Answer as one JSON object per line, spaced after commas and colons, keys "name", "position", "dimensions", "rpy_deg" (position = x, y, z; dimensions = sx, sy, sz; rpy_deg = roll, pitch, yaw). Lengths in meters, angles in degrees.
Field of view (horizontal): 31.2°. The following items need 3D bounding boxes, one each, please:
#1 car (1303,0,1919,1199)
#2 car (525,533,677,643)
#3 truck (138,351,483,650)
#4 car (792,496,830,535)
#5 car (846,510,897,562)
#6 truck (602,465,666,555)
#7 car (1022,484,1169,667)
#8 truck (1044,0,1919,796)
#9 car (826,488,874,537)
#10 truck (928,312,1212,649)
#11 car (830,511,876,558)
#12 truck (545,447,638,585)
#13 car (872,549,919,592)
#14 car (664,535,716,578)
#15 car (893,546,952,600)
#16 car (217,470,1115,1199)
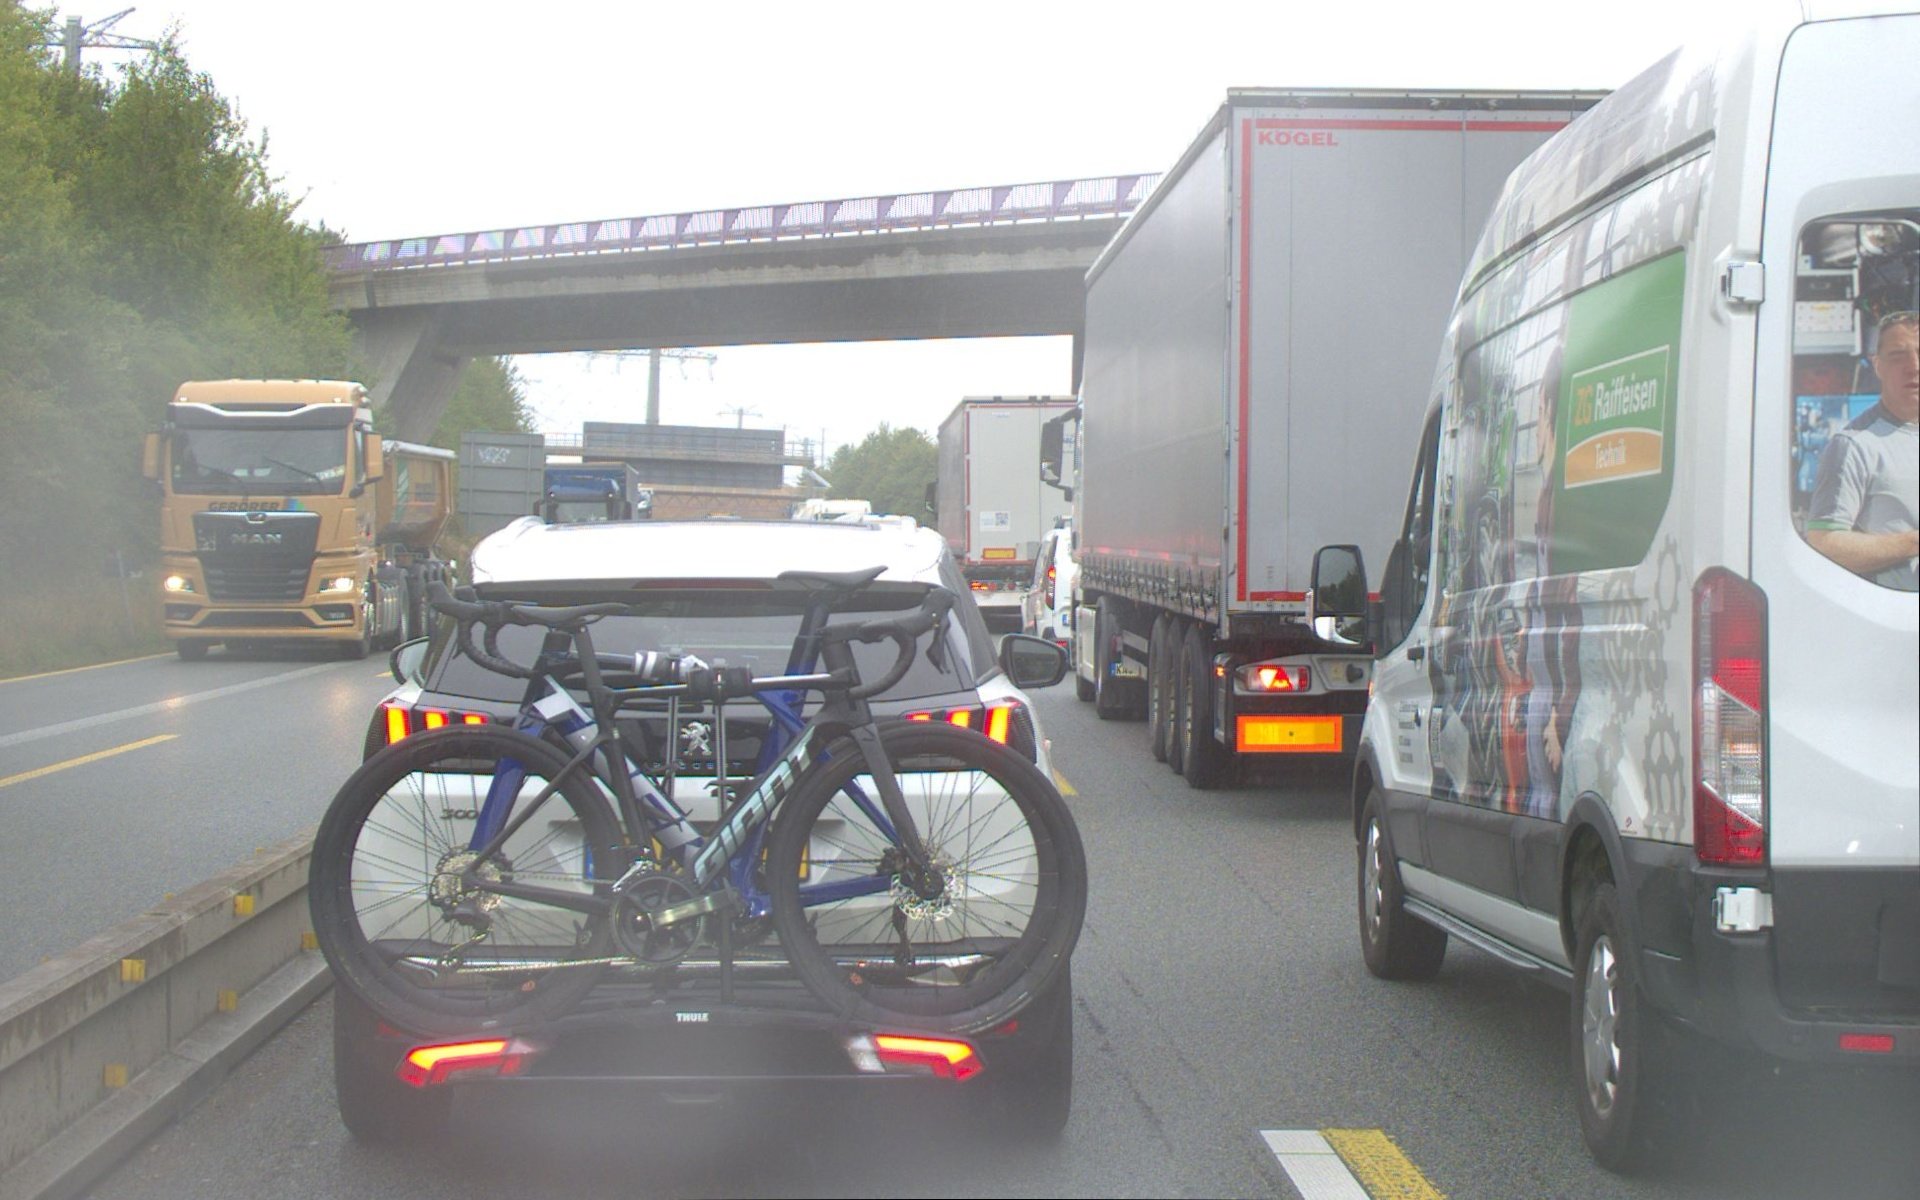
{"name": "car", "position": [2.438, -0.010, 9.971], "dimensions": [2.144, 2.667, 6.117], "rpy_deg": [1, 1, -1]}
{"name": "car", "position": [-5.429, -0.195, 52.430], "dimensions": [1.935, 1.602, 4.120], "rpy_deg": [1, 1, -1]}
{"name": "truck", "position": [-8.828, -1.279, 48.391], "dimensions": [2.681, 3.644, 12.312], "rpy_deg": [1, 1, -1]}
{"name": "car", "position": [-8.350, -4.705, 192.521], "dimensions": [1.993, 2.119, 4.527], "rpy_deg": [1, 1, -1]}
{"name": "car", "position": [-3.502, -2.545, 137.068], "dimensions": [1.993, 2.007, 4.000], "rpy_deg": [1, 1, -1]}
{"name": "truck", "position": [-15.369, -4.193, 162.605], "dimensions": [2.464, 4.109, 10.089], "rpy_deg": [1, 1, -2]}
{"name": "car", "position": [1.660, -0.319, 43.465], "dimensions": [1.670, 2.173, 4.535], "rpy_deg": [1, 1, 0]}
{"name": "truck", "position": [3.109, -1.920, 28.188], "dimensions": [3.979, 5.654, 20.377], "rpy_deg": [1, 1, -1]}
{"name": "car", "position": [-5.288, -4.201, 166.122], "dimensions": [2.239, 2.299, 4.572], "rpy_deg": [1, 1, -1]}
{"name": "truck", "position": [1.880, -2.119, 68.236], "dimensions": [4.743, 5.654, 20.376], "rpy_deg": [1, 1, 0]}
{"name": "car", "position": [-4.770, -2.913, 153.457], "dimensions": [1.993, 2.007, 4.000], "rpy_deg": [1, 1, -1]}
{"name": "truck", "position": [-12.040, -2.628, 111.877], "dimensions": [2.765, 4.109, 16.931], "rpy_deg": [1, 1, -6]}
{"name": "car", "position": [-2.293, -1.063, 122.697], "dimensions": [1.638, 1.492, 3.666], "rpy_deg": [1, 1, -1]}
{"name": "car", "position": [-10.229, -1.637, 130.405], "dimensions": [1.783, 1.604, 4.104], "rpy_deg": [1, 1, -2]}
{"name": "car", "position": [-1.074, -0.766, 98.280], "dimensions": [1.638, 1.492, 3.666], "rpy_deg": [1, 1, -1]}
{"name": "car", "position": [-0.594, 0.538, 9.302], "dimensions": [1.810, 1.632, 4.635], "rpy_deg": [1, 1, 0]}
